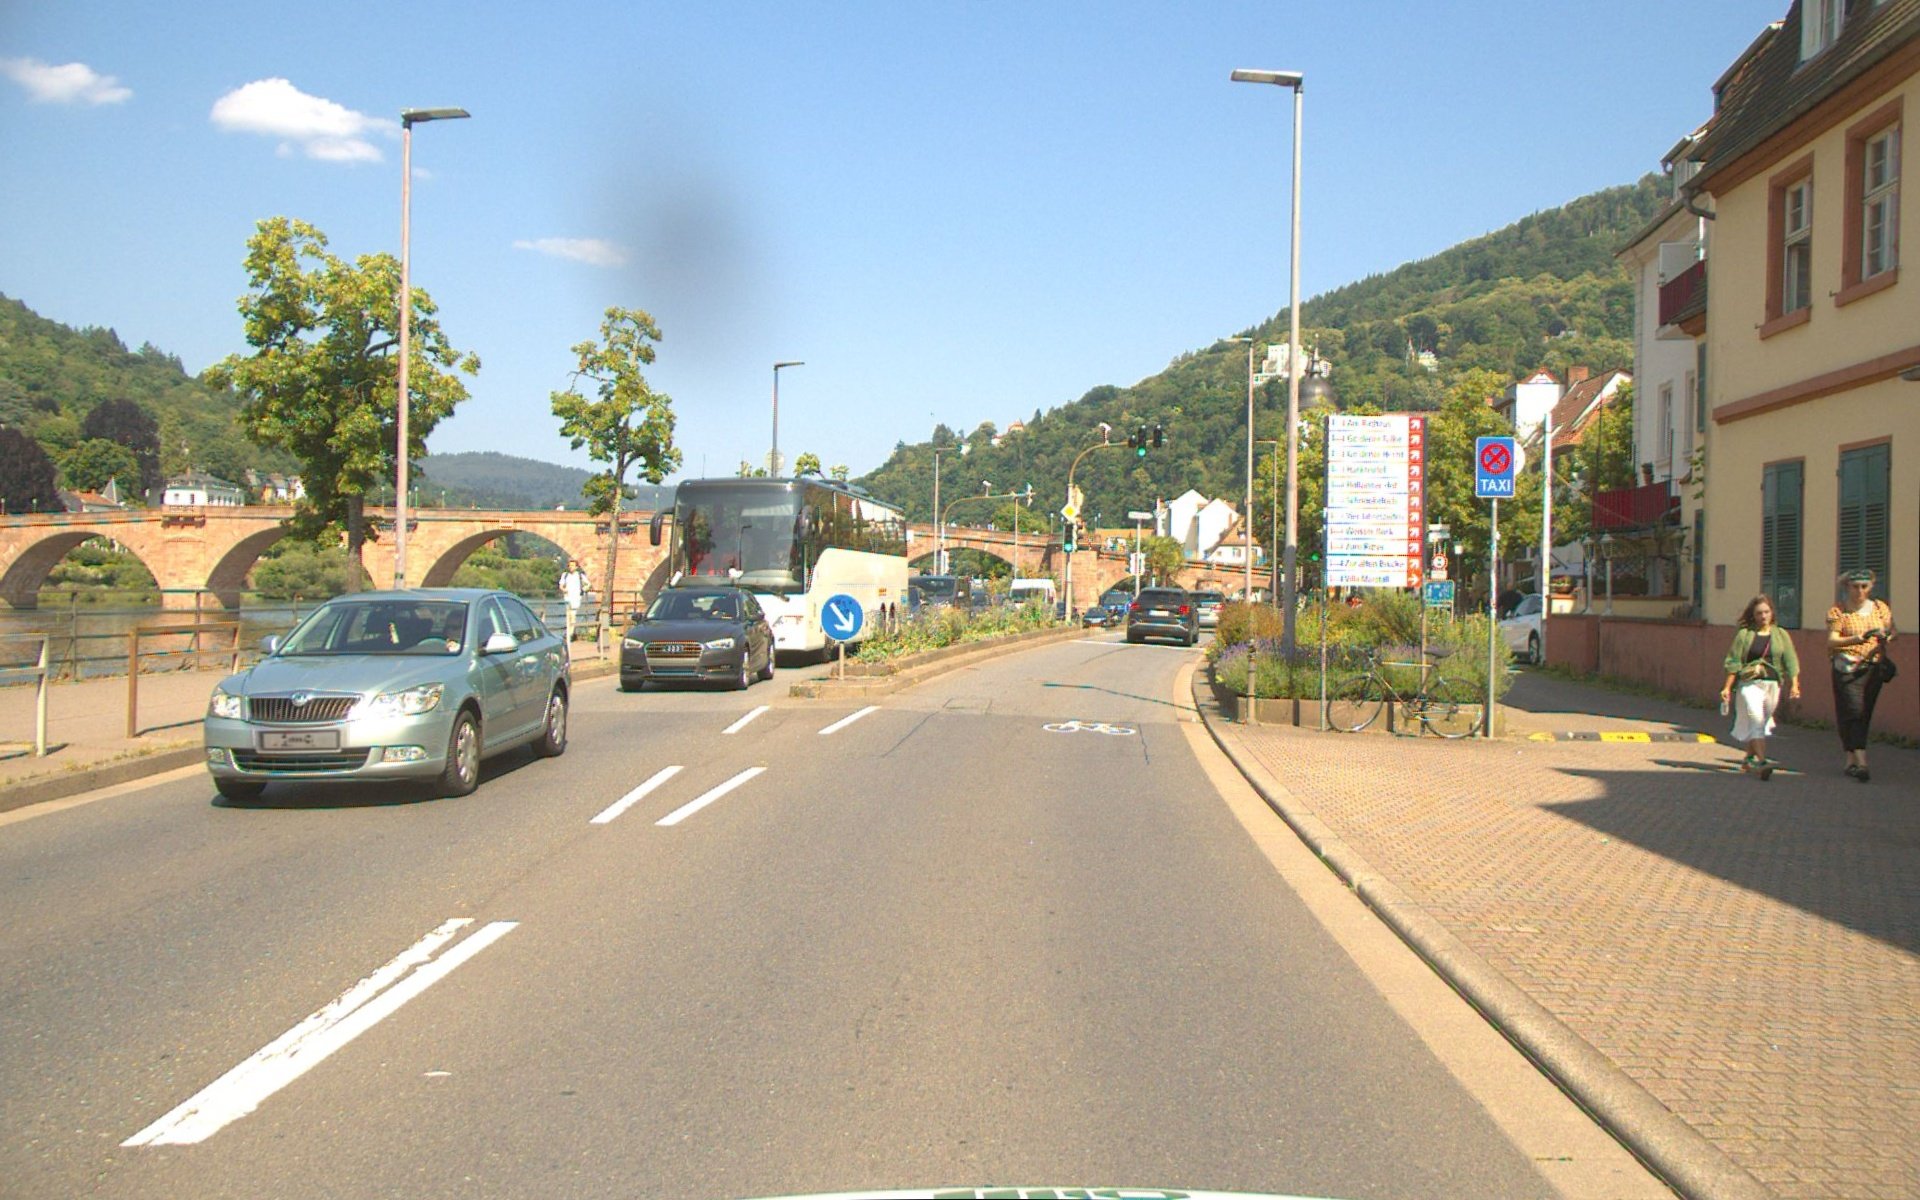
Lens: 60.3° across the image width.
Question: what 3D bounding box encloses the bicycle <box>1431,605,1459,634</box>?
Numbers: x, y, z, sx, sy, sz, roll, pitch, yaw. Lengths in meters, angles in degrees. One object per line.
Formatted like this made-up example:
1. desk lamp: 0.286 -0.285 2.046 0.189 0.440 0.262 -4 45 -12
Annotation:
1. bicycle: 18.902 0.754 64.451 0.583 1.086 2.061 0 -1 29

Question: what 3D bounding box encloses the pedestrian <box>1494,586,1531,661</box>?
1. pedestrian: 14.152 0.591 42.350 0.746 1.890 0.610 -1 0 3

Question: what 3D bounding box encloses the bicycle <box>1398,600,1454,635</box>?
1. bicycle: 17.746 0.654 63.025 1.958 1.219 0.521 4 1 23

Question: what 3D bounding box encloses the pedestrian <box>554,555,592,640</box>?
1. pedestrian: -8.457 -0.058 36.136 0.607 1.811 0.662 1 0 3

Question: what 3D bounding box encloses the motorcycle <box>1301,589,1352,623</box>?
1. motorcycle: 16.252 0.270 73.389 0.757 1.491 2.267 1 -1 -38

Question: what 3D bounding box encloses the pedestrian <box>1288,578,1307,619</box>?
1. pedestrian: 14.255 -0.064 69.858 0.679 1.706 0.764 -1 0 3

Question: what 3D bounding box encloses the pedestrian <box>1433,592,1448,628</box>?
1. pedestrian: 20.846 0.422 71.731 0.449 1.543 0.691 2 0 3

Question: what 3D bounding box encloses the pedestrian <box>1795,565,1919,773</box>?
1. pedestrian: 7.773 0.574 14.241 0.722 1.728 0.934 0 0 3

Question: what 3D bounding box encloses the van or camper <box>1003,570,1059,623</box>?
1. van or camper: 3.535 -0.147 81.139 1.951 2.493 5.499 -1 -1 11

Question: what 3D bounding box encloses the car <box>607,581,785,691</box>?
1. car: -3.720 0.463 24.024 1.779 1.454 4.194 0 1 2

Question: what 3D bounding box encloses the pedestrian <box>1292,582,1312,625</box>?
1. pedestrian: 14.337 0.151 69.366 0.679 1.802 0.764 -1 0 3

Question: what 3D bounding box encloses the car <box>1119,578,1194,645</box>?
1. car: 5.462 0.276 45.847 1.886 1.580 4.836 4 2 7

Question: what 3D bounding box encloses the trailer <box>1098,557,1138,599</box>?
1. trailer: 13.656 -1.845 142.660 2.601 3.463 8.834 1 0 10

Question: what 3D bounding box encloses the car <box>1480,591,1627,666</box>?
1. car: 13.734 0.612 38.546 1.838 1.605 4.728 1 0 2

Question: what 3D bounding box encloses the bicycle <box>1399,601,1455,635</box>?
1. bicycle: 17.919 0.674 63.504 1.971 1.219 0.521 3 1 23

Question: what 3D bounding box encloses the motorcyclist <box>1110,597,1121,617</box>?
1. motorcyclist: 11.924 0.518 126.939 0.720 1.496 1.012 1 0 8

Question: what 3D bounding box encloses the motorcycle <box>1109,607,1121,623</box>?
1. motorcycle: 11.903 1.130 126.970 0.741 1.151 2.457 1 0 8

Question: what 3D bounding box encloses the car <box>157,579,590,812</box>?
1. car: -4.256 0.590 12.806 1.776 1.453 4.311 -1 1 0

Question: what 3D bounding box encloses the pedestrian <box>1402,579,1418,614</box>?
1. pedestrian: 21.922 -0.172 80.560 0.692 1.682 0.707 1 0 11

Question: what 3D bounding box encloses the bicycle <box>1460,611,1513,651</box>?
1. bicycle: 13.657 0.788 42.937 0.734 0.981 1.781 2 0 -2

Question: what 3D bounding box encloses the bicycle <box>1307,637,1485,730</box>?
1. bicycle: 4.764 0.911 18.119 1.773 0.893 0.502 3 1 -1

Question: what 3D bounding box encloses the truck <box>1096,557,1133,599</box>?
1. truck: 13.043 -1.837 139.332 2.601 3.463 4.453 1 0 10

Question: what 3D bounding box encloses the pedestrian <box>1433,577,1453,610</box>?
1. pedestrian: 20.868 -0.276 71.457 0.613 1.406 0.542 -4 0 3

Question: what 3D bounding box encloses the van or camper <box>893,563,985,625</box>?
1. van or camper: -0.612 -0.180 53.489 1.951 1.906 5.184 0 0 11

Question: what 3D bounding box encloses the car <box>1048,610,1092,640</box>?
1. car: 5.926 1.322 88.593 1.779 1.481 4.933 -1 0 10

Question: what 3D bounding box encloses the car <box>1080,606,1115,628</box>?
1. car: 9.561 1.212 114.697 1.910 1.437 4.222 -1 -2 12

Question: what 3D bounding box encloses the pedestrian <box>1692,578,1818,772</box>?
1. pedestrian: 6.888 0.634 14.356 0.746 1.623 0.696 1 0 3

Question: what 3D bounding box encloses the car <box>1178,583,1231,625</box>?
1. car: 9.170 0.121 62.160 1.885 1.486 4.836 1 0 8

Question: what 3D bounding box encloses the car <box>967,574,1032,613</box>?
1. car: 1.612 -0.251 66.063 1.910 1.433 4.574 -2 0 10

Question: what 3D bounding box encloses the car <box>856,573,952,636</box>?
1. car: -1.523 0.110 47.058 1.951 1.626 5.161 -2 0 6

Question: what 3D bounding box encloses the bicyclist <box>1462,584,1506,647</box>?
1. bicyclist: 13.657 0.406 43.119 0.751 1.611 1.088 1 0 -3

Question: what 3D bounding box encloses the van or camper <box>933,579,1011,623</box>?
1. van or camper: 0.482 0.057 58.540 1.951 1.502 5.069 0 -1 10

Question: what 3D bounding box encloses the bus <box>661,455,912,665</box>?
1. bus: -3.219 -0.643 35.299 2.575 3.626 12.991 1 0 6
